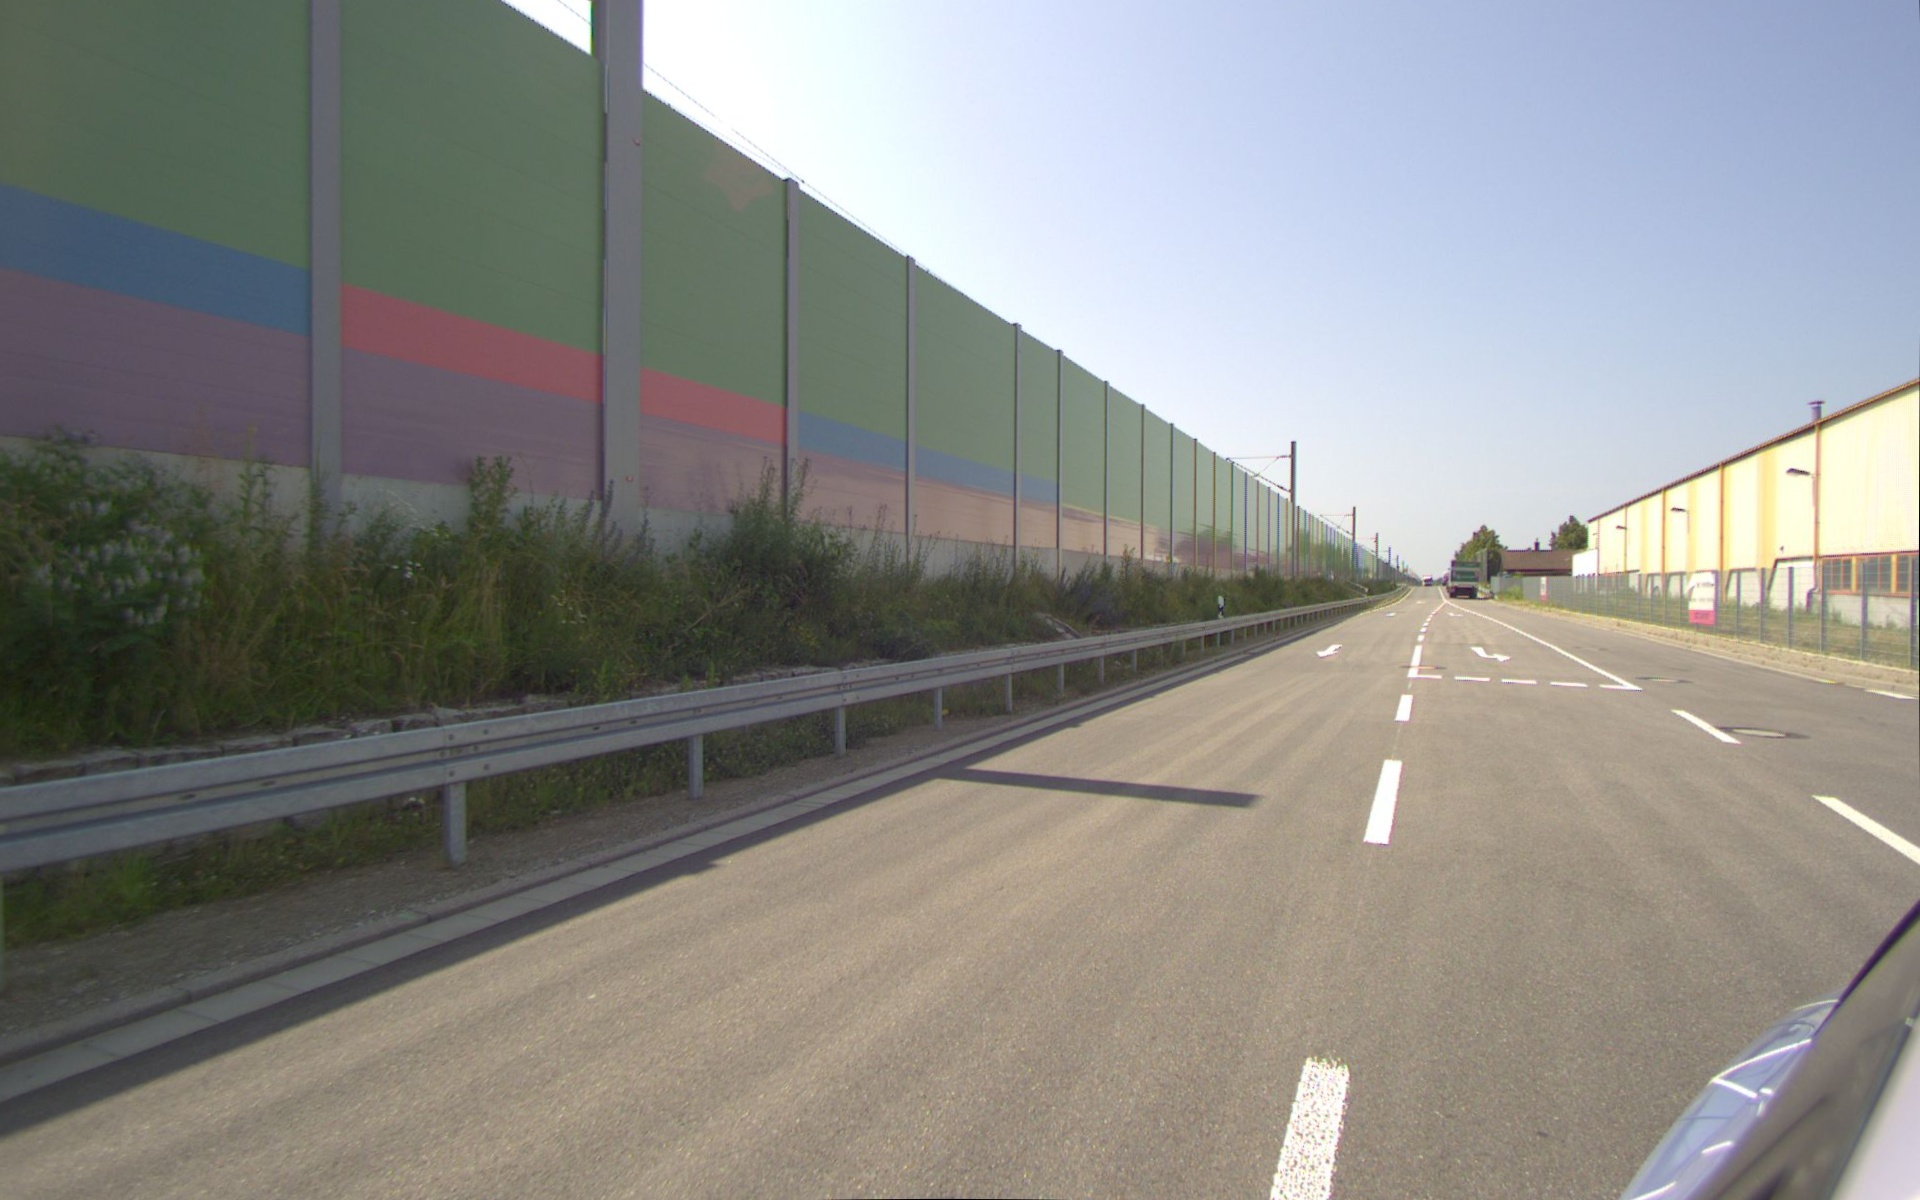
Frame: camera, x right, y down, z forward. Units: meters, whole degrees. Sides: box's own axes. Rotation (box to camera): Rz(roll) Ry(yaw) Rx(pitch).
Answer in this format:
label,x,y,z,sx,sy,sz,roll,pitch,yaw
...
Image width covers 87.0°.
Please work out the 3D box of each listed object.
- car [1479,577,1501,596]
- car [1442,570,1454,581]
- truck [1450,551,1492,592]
label,x,y,z,sx,sy,sz,roll,pitch,yaw
car,58.808,-1.437,112.291,1.980,2.039,3.963,1,1,26
car,89.231,-4.446,185.025,1.980,2.039,3.963,1,1,26
truck,52.305,-2.798,103.699,3.531,3.926,11.309,1,1,27
